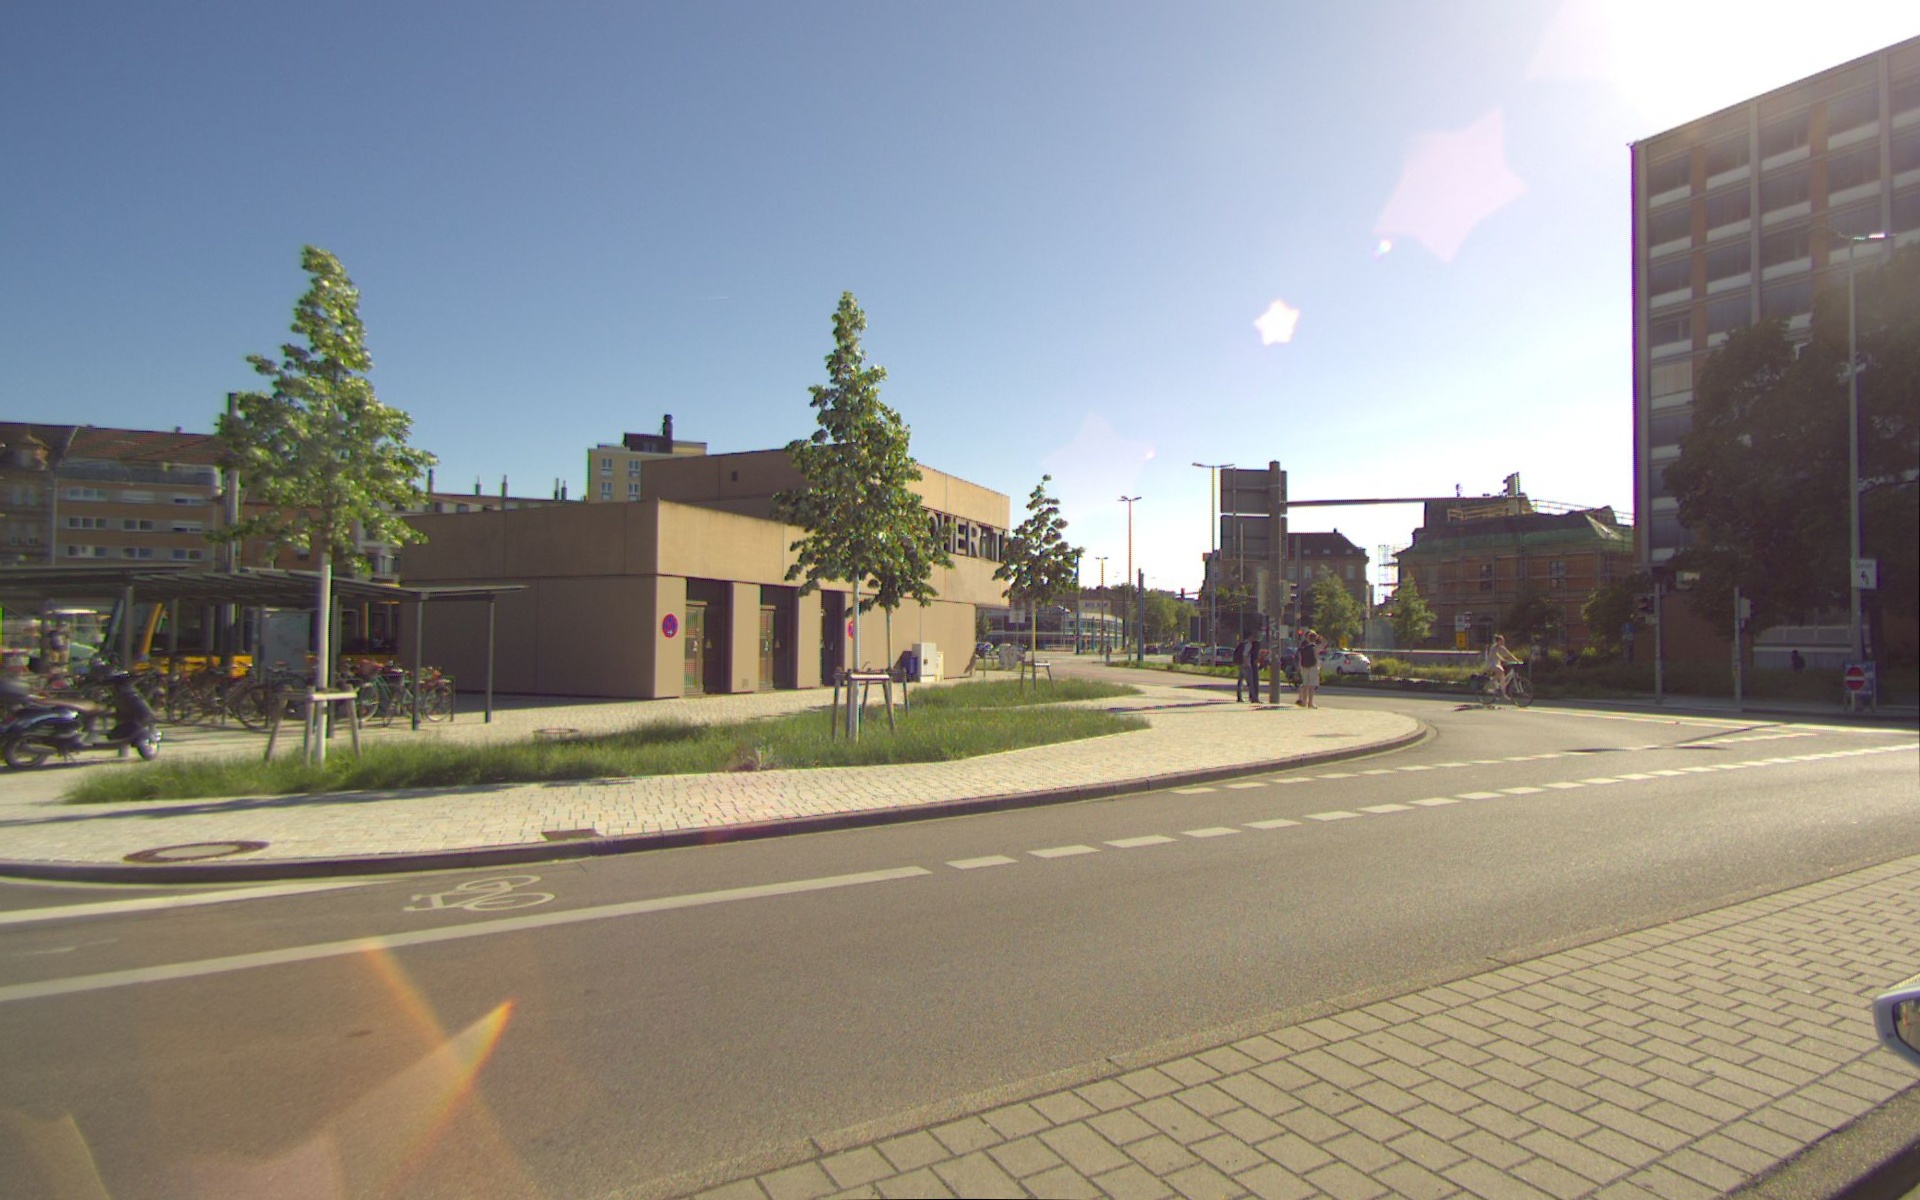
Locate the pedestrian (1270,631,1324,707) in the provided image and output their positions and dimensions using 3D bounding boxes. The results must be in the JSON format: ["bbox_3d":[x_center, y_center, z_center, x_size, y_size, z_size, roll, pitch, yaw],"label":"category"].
[{"bbox_3d":[8.300,1.705,24.775,1.082,1.822,0.705,2,-4,-6],"label":"pedestrian"}]

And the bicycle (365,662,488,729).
[{"bbox_3d":[-9.781,1.726,18.519,0.524,1.051,2.070,2,0,26],"label":"bicycle"}]

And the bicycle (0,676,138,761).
[{"bbox_3d":[-12.194,1.572,13.577,0.399,0.985,1.683,2,0,22],"label":"bicycle"}]

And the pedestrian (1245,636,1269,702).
[{"bbox_3d":[8.000,1.847,27.059,0.585,1.751,0.580,0,-2,14],"label":"pedestrian"}]

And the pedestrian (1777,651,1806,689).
[{"bbox_3d":[35.960,3.006,43.443,0.588,1.624,0.738,1,-2,-11],"label":"pedestrian"}]

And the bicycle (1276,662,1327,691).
[{"bbox_3d":[11.418,2.551,33.654,0.675,0.930,1.986,1,-4,-14],"label":"bicycle"}]

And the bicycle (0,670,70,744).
[{"bbox_3d":[-13.688,1.529,14.173,0.399,0.985,1.683,2,0,22],"label":"bicycle"}]

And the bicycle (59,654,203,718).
[{"bbox_3d":[-15.894,1.621,19.319,0.524,1.051,2.070,5,1,26],"label":"bicycle"}]

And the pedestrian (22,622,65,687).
[{"bbox_3d":[-28.935,1.710,31.728,0.526,2.040,0.803,0,-2,23],"label":"pedestrian"}]

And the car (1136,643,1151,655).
[{"bbox_3d":[26.387,7.040,144.417,1.807,1.653,4.390,0,-2,6],"label":"car"}]

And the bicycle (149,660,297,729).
[{"bbox_3d":[-12.890,1.627,17.656,0.524,1.051,2.070,2,0,26],"label":"bicycle"}]

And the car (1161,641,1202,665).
[{"bbox_3d":[16.530,3.931,75.123,1.809,1.653,4.386,1,-2,-4],"label":"car"}]

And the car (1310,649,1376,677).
[{"bbox_3d":[21.271,3.484,55.924,1.711,1.454,3.843,1,-2,-10],"label":"car"}]

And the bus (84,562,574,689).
[{"bbox_3d":[-18.388,0.872,31.436,2.810,3.112,13.620,0,-2,25],"label":"bus"}]

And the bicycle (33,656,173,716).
[{"bbox_3d":[-16.875,1.675,19.848,0.524,1.051,2.070,-2,-2,26],"label":"bicycle"}]

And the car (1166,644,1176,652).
[{"bbox_3d":[51.336,11.661,244.341,1.959,2.040,4.003,0,-2,7],"label":"car"}]

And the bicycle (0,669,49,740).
[{"bbox_3d":[-14.192,1.524,14.375,0.399,0.985,1.683,2,0,22],"label":"bicycle"}]

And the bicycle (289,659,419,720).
[{"bbox_3d":[-11.754,1.713,19.571,0.679,1.011,2.140,2,0,26],"label":"bicycle"}]

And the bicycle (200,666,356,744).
[{"bbox_3d":[-10.895,1.648,16.132,0.524,1.051,2.070,2,0,26],"label":"bicycle"}]

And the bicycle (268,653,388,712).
[{"bbox_3d":[-12.735,1.645,20.327,0.524,1.051,2.070,2,0,26],"label":"bicycle"}]

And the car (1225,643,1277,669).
[{"bbox_3d":[20.048,3.833,69.431,1.810,1.653,4.382,1,-2,-8],"label":"car"}]

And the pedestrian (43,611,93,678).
[{"bbox_3d":[-26.055,1.294,29.348,0.755,1.942,0.803,0,-2,23],"label":"pedestrian"}]

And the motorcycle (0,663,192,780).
[{"bbox_3d":[-10.841,1.445,12.475,0.558,1.235,2.087,0,-1,21],"label":"motorcycle"}]

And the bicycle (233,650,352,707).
[{"bbox_3d":[-13.909,1.613,20.992,0.524,1.051,2.070,2,0,26],"label":"bicycle"}]

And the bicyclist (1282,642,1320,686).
[{"bbox_3d":[11.423,2.136,33.680,0.676,1.440,1.124,1,-4,-16],"label":"bicyclist"}]

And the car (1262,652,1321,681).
[{"bbox_3d":[20.708,4.127,62.887,1.810,1.653,4.382,1,-2,-8],"label":"car"}]

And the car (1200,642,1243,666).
[{"bbox_3d":[19.627,4.027,75.503,1.809,1.653,4.386,1,-2,-4],"label":"car"}]

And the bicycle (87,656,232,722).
[{"bbox_3d":[-15.009,1.638,18.905,0.524,1.051,2.070,5,1,26],"label":"bicycle"}]

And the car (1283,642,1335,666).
[{"bbox_3d":[25.802,3.994,74.446,1.809,1.653,4.836,1,-2,-6],"label":"car"}]

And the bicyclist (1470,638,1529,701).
[{"bbox_3d":[13.343,1.726,24.858,0.729,1.519,1.069,1,-4,-17],"label":"bicyclist"}]

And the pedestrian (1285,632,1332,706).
[{"bbox_3d":[8.298,1.655,23.928,0.775,1.711,0.794,2,-5,-11],"label":"pedestrian"}]

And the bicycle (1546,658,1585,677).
[{"bbox_3d":[33.210,3.700,55.115,0.588,0.976,2.079,1,-2,-10],"label":"bicycle"}]

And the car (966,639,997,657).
[{"bbox_3d":[2.598,5.746,120.736,1.965,2.040,3.992,0,-2,31],"label":"car"}]

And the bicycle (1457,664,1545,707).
[{"bbox_3d":[13.342,2.090,24.842,0.729,1.008,1.984,1,-4,-17],"label":"bicycle"}]

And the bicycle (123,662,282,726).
[{"bbox_3d":[-13.701,1.675,18.260,0.673,0.956,2.233,2,0,25],"label":"bicycle"}]

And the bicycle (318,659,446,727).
[{"bbox_3d":[-10.677,1.684,18.643,0.594,1.093,2.053,2,0,25],"label":"bicycle"}]

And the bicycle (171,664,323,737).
[{"bbox_3d":[-11.934,1.653,16.905,0.524,1.051,2.070,2,0,26],"label":"bicycle"}]

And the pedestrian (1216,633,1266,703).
[{"bbox_3d":[7.133,1.729,25.476,0.831,1.711,0.896,5,-5,-34],"label":"pedestrian"}]

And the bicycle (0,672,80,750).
[{"bbox_3d":[-13.222,1.542,13.812,0.399,0.985,1.683,2,0,22],"label":"bicycle"}]

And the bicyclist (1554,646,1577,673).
[{"bbox_3d":[33.213,3.268,55.121,0.588,1.448,0.938,1,-2,-10],"label":"bicyclist"}]

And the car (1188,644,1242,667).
[{"bbox_3d":[17.278,3.758,68.324,1.810,1.406,4.895,1,-2,-8],"label":"car"}]

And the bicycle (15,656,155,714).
[{"bbox_3d":[-17.764,1.695,20.456,0.524,1.051,2.070,5,0,26],"label":"bicycle"}]
